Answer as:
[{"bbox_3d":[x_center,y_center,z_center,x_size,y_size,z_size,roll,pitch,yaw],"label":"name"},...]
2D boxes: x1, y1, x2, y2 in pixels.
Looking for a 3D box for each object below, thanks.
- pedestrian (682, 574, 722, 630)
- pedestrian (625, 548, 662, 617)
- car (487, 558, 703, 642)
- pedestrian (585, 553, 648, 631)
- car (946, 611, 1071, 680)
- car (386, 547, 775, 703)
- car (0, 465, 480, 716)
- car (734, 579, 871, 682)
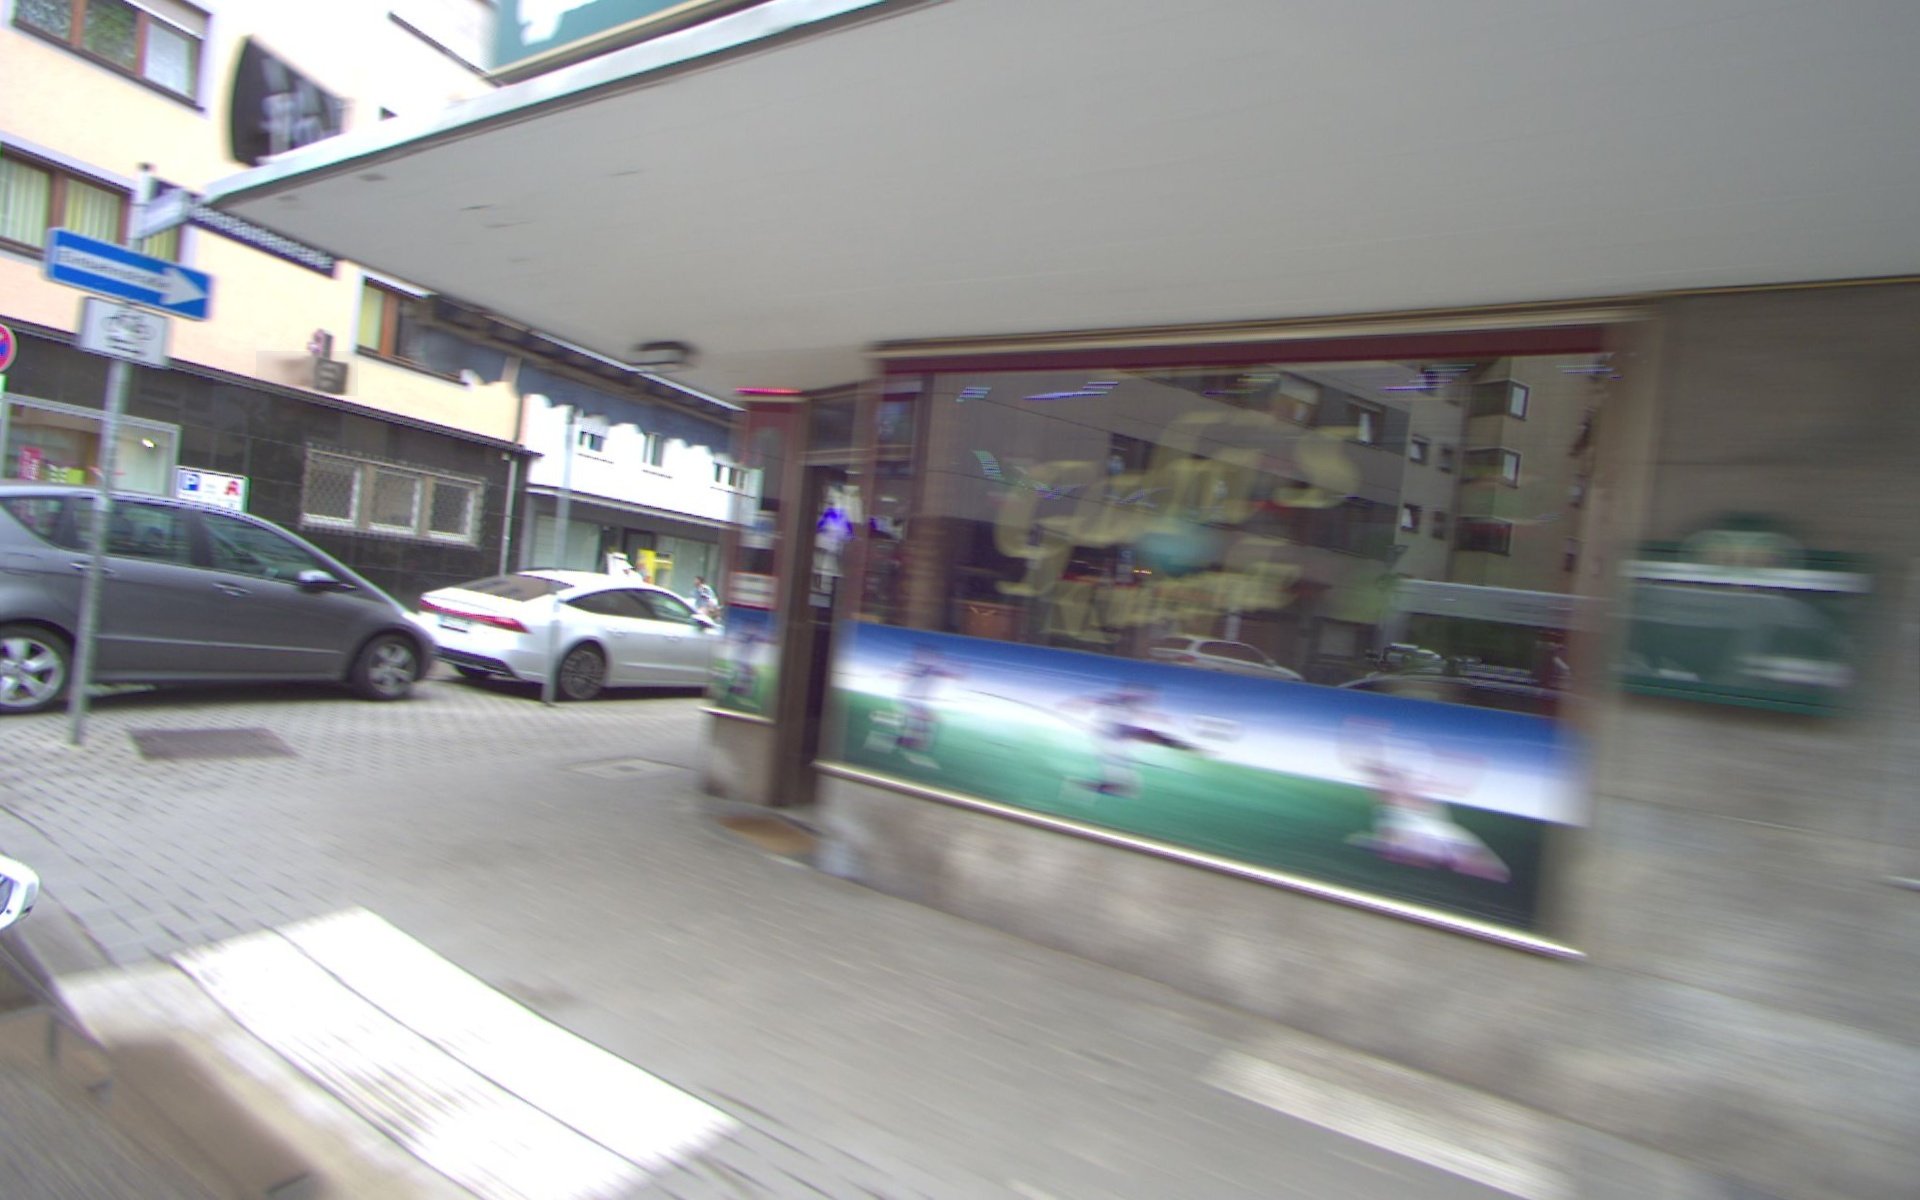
[{"bbox_3d":[-6.732,0.064,26.277,0.614,1.392,0.692,6,1,21],"label":"pedestrian"},{"bbox_3d":[-8.228,-0.447,26.149,0.583,1.704,0.538,6,1,21],"label":"pedestrian"},{"bbox_3d":[-7.278,0.060,20.521,1.837,1.369,4.078,6,0,21],"label":"car"},{"bbox_3d":[-8.001,-0.179,23.443,0.936,1.688,0.860,6,1,20],"label":"pedestrian"},{"bbox_3d":[1.249,1.073,24.117,1.837,1.320,3.934,6,0,19],"label":"car"},{"bbox_3d":[-4.441,0.346,12.589,1.755,1.460,4.488,6,0,26],"label":"car"},{"bbox_3d":[-6.253,-0.065,8.128,1.902,1.594,3.832,6,0,27],"label":"car"},{"bbox_3d":[-2.972,0.560,19.817,1.771,1.638,4.023,6,0,2],"label":"car"}]
